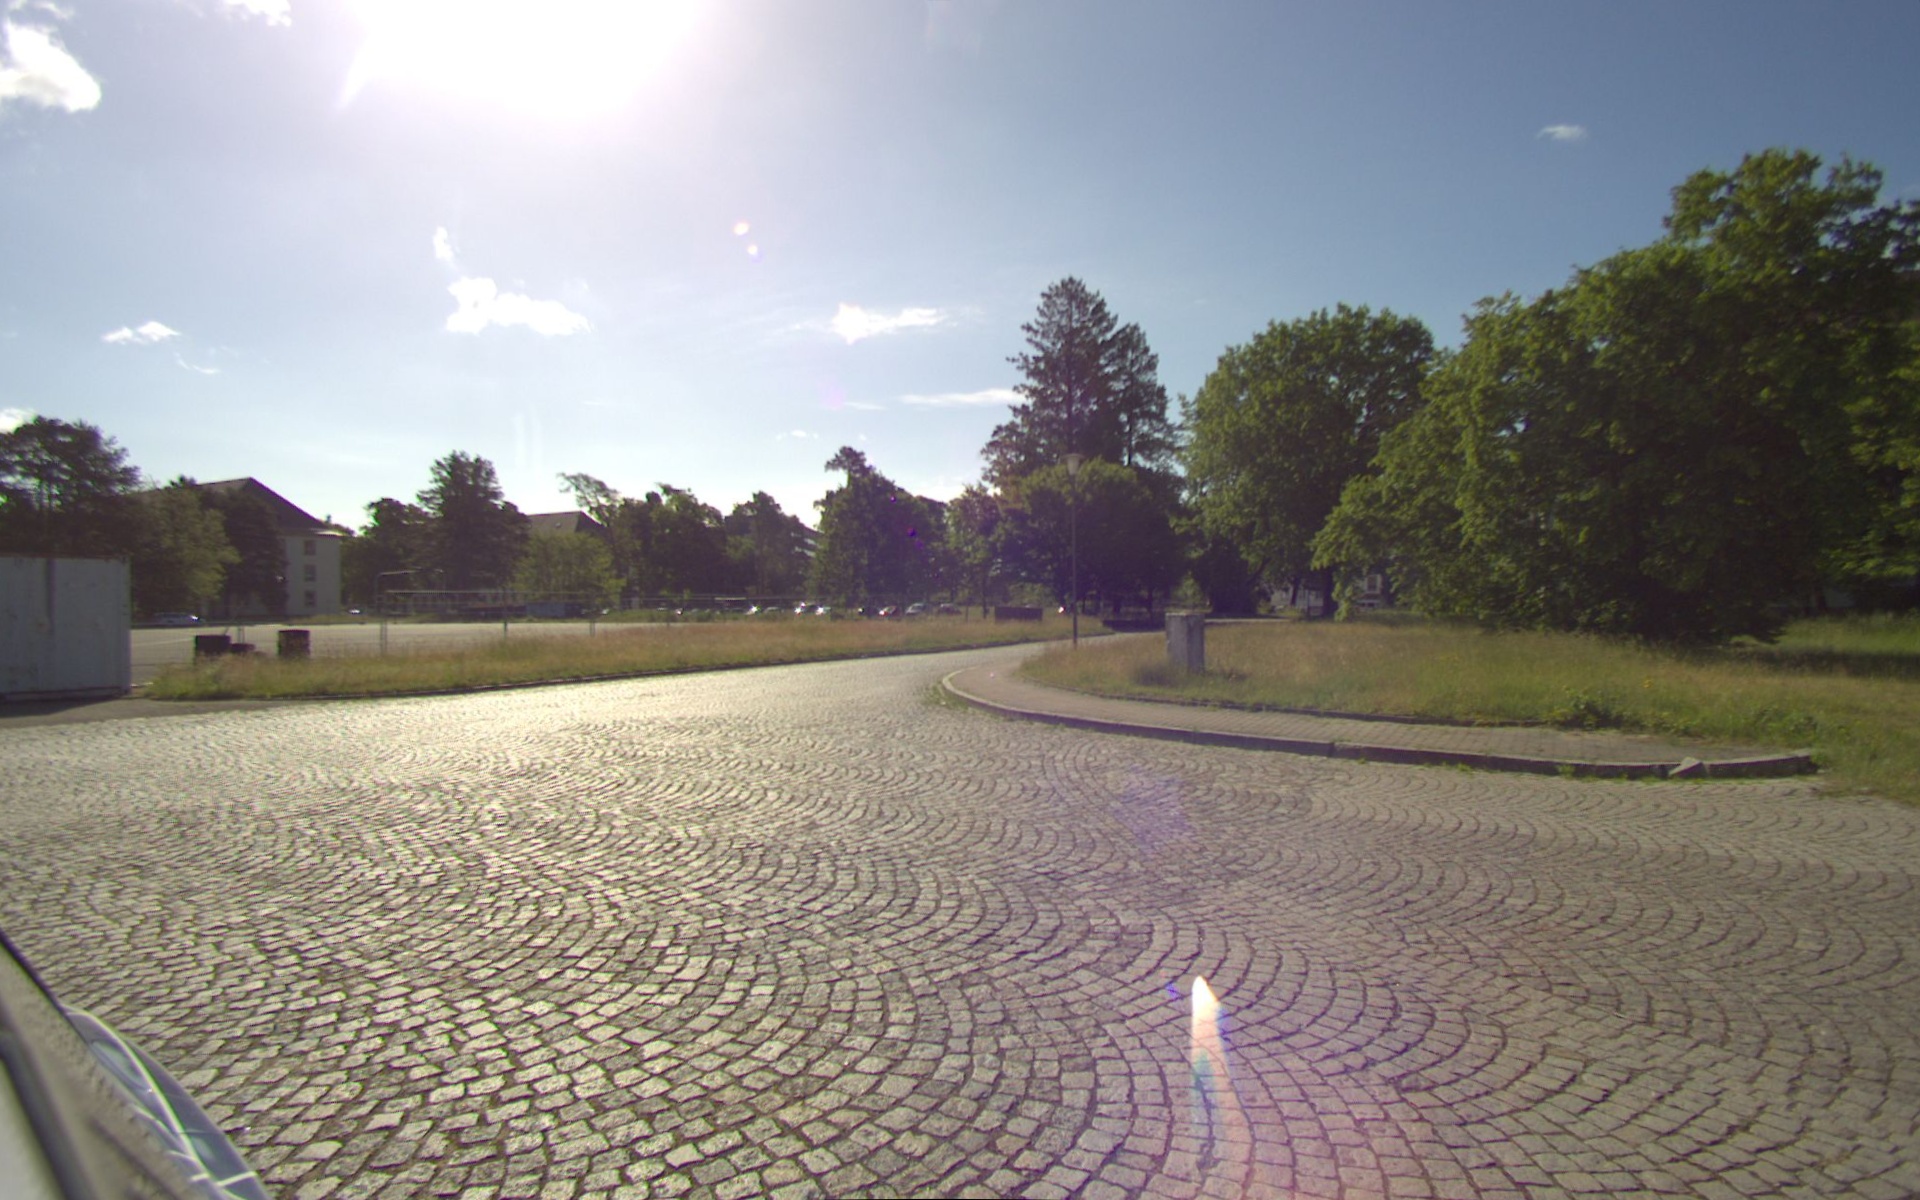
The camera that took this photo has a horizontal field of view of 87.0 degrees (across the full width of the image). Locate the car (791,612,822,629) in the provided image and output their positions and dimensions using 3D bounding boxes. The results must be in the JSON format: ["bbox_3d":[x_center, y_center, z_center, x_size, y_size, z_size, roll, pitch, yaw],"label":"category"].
[{"bbox_3d":[-18.340,2.409,121.030,1.736,2.029,3.813,-1,0,29],"label":"car"}]

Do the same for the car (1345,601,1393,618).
[{"bbox_3d":[60.551,1.436,149.871,6.423,2.485,2.439,-1,-1,30],"label":"car"}]

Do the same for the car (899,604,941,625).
[{"bbox_3d":[-4.454,1.629,114.862,1.991,2.029,5.977,-3,0,28],"label":"car"}]

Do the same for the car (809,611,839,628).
[{"bbox_3d":[-16.135,2.312,119.969,1.734,2.029,3.816,-1,0,27],"label":"car"}]

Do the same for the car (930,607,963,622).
[{"bbox_3d":[-1.470,1.568,112.437,1.990,1.664,3.963,-1,0,27],"label":"car"}]

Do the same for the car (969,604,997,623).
[{"bbox_3d":[2.533,1.491,111.251,1.734,2.029,3.586,-1,0,27],"label":"car"}]

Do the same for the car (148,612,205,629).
[{"bbox_3d":[-76.131,2.005,98.428,1.988,1.594,3.968,0,0,24],"label":"car"}]

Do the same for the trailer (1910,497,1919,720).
[{"bbox_3d":[9.918,0.078,8.192,2.128,2.315,4.624,-1,-1,29],"label":"trailer"}]

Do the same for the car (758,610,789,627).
[{"bbox_3d":[-22.785,2.304,123.963,1.736,2.029,3.813,-1,0,29],"label":"car"}]

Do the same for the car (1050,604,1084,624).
[{"bbox_3d":[11.132,1.385,105.000,2.234,2.029,4.313,0,0,24],"label":"car"}]

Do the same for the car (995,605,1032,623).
[{"bbox_3d":[5.826,1.521,109.127,2.240,1.853,4.302,-1,0,32],"label":"car"}]

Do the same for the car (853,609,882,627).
[{"bbox_3d":[-10.688,2.071,117.048,1.734,2.029,3.586,-1,0,27],"label":"car"}]

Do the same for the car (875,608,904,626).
[{"bbox_3d":[-8.089,1.957,115.995,1.734,2.029,3.586,-1,0,27],"label":"car"}]
